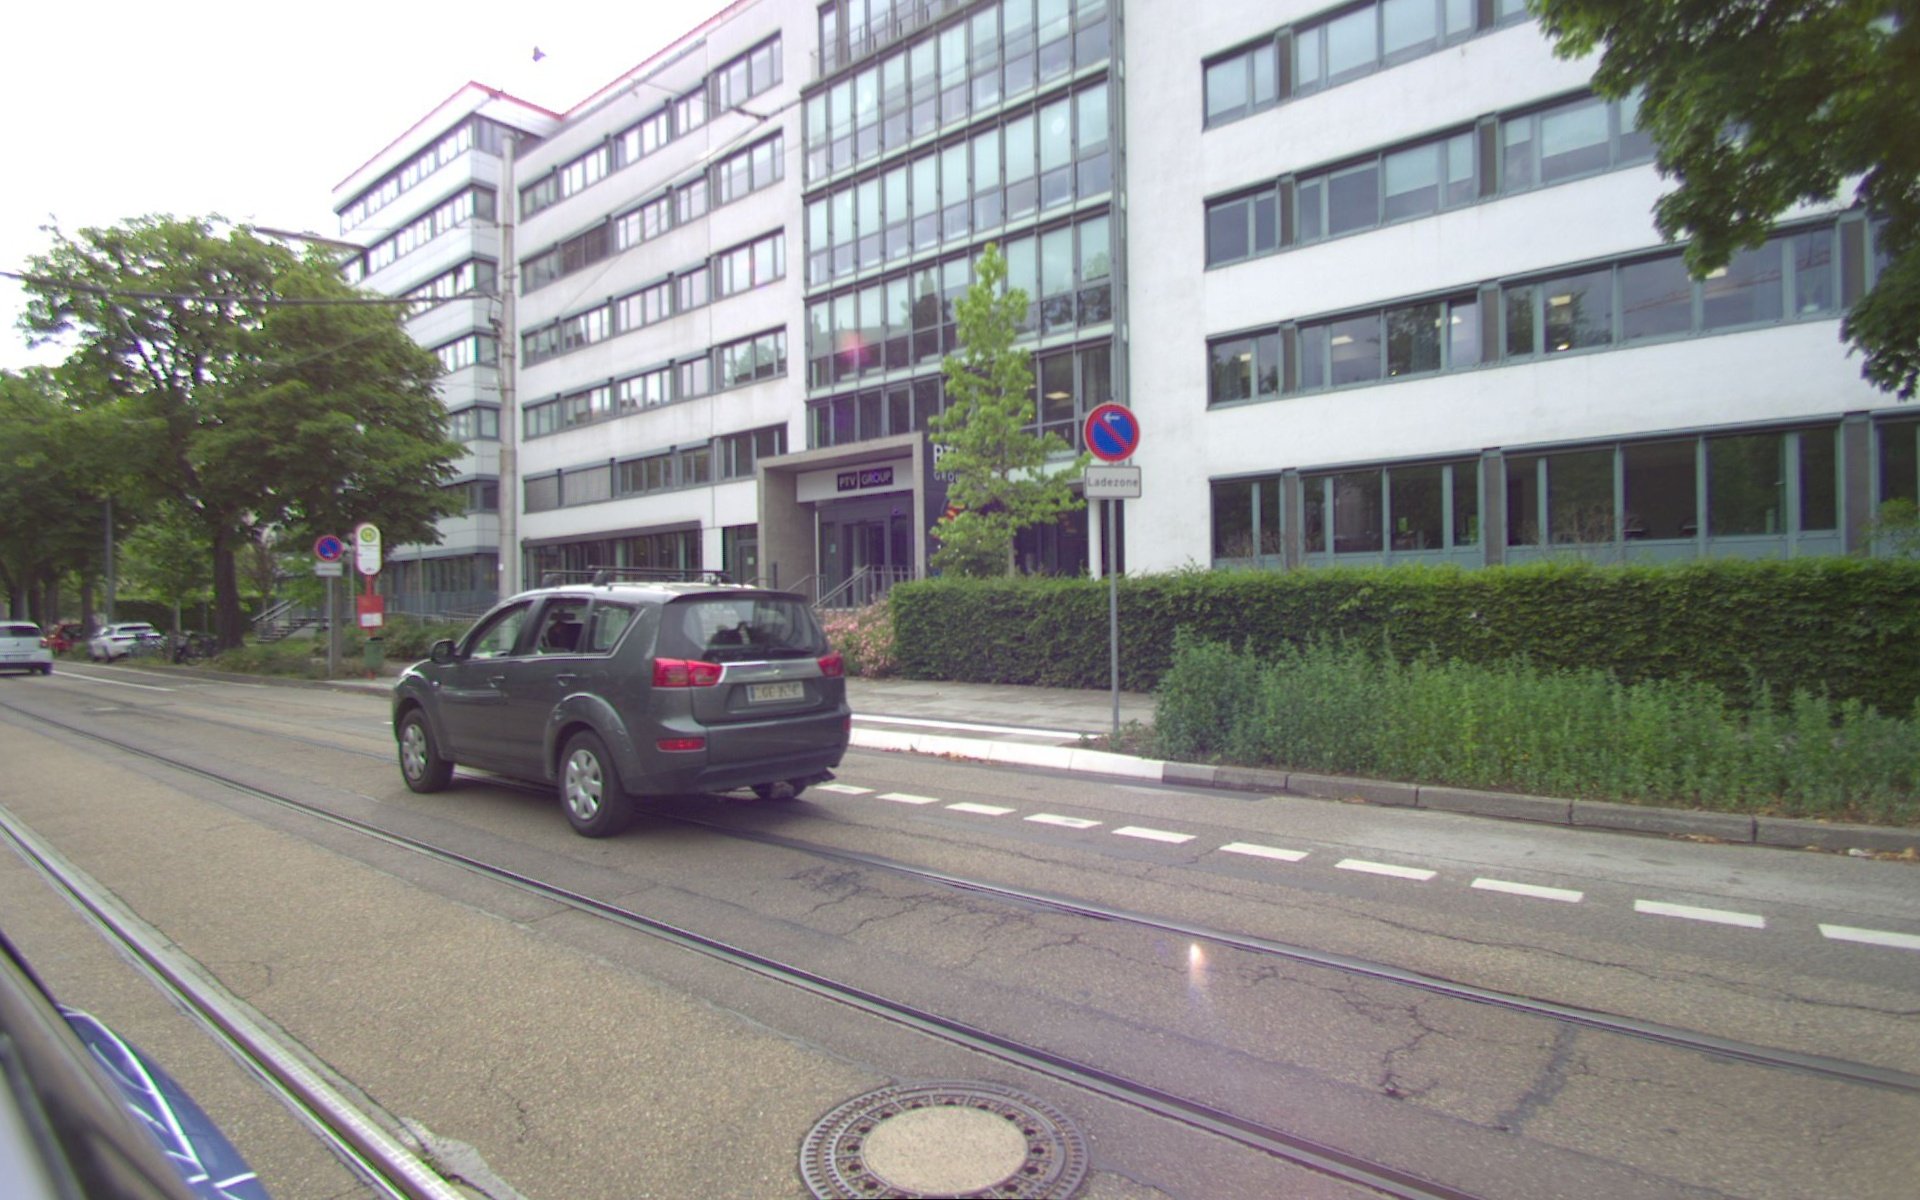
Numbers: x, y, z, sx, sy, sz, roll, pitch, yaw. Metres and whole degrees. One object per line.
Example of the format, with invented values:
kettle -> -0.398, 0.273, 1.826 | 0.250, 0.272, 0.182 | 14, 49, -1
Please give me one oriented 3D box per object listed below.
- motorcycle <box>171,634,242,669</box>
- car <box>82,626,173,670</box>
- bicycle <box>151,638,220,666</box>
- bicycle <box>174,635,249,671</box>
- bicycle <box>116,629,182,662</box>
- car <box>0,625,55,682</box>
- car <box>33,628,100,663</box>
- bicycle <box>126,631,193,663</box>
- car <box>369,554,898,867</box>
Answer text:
motorcycle -> -25.522, 1.733, 34.288 | 0.731, 1.058, 1.774 | -1, 0, 33
car -> -32.114, 1.819, 38.980 | 4.750, 1.504, 1.862 | -2, 1, 40
bicycle -> -26.903, 1.784, 35.169 | 0.630, 0.906, 1.791 | 0, -1, 34
bicycle -> -24.065, 1.697, 32.566 | 0.739, 1.061, 1.814 | -2, -1, 32
bicycle -> -29.814, 1.662, 37.227 | 0.632, 1.195, 1.843 | -1, -2, 44
car -> -27.791, 1.515, 29.404 | 3.738, 1.541, 1.687 | -1, -1, 39
car -> -42.135, 2.094, 47.707 | 3.751, 1.458, 1.613 | -1, 2, 37
bicycle -> -28.882, 1.686, 36.532 | 0.630, 1.108, 1.791 | 0, -1, 34
car -> -2.674, 0.640, 7.741 | 4.331, 1.750, 1.809 | -1, -1, 39
